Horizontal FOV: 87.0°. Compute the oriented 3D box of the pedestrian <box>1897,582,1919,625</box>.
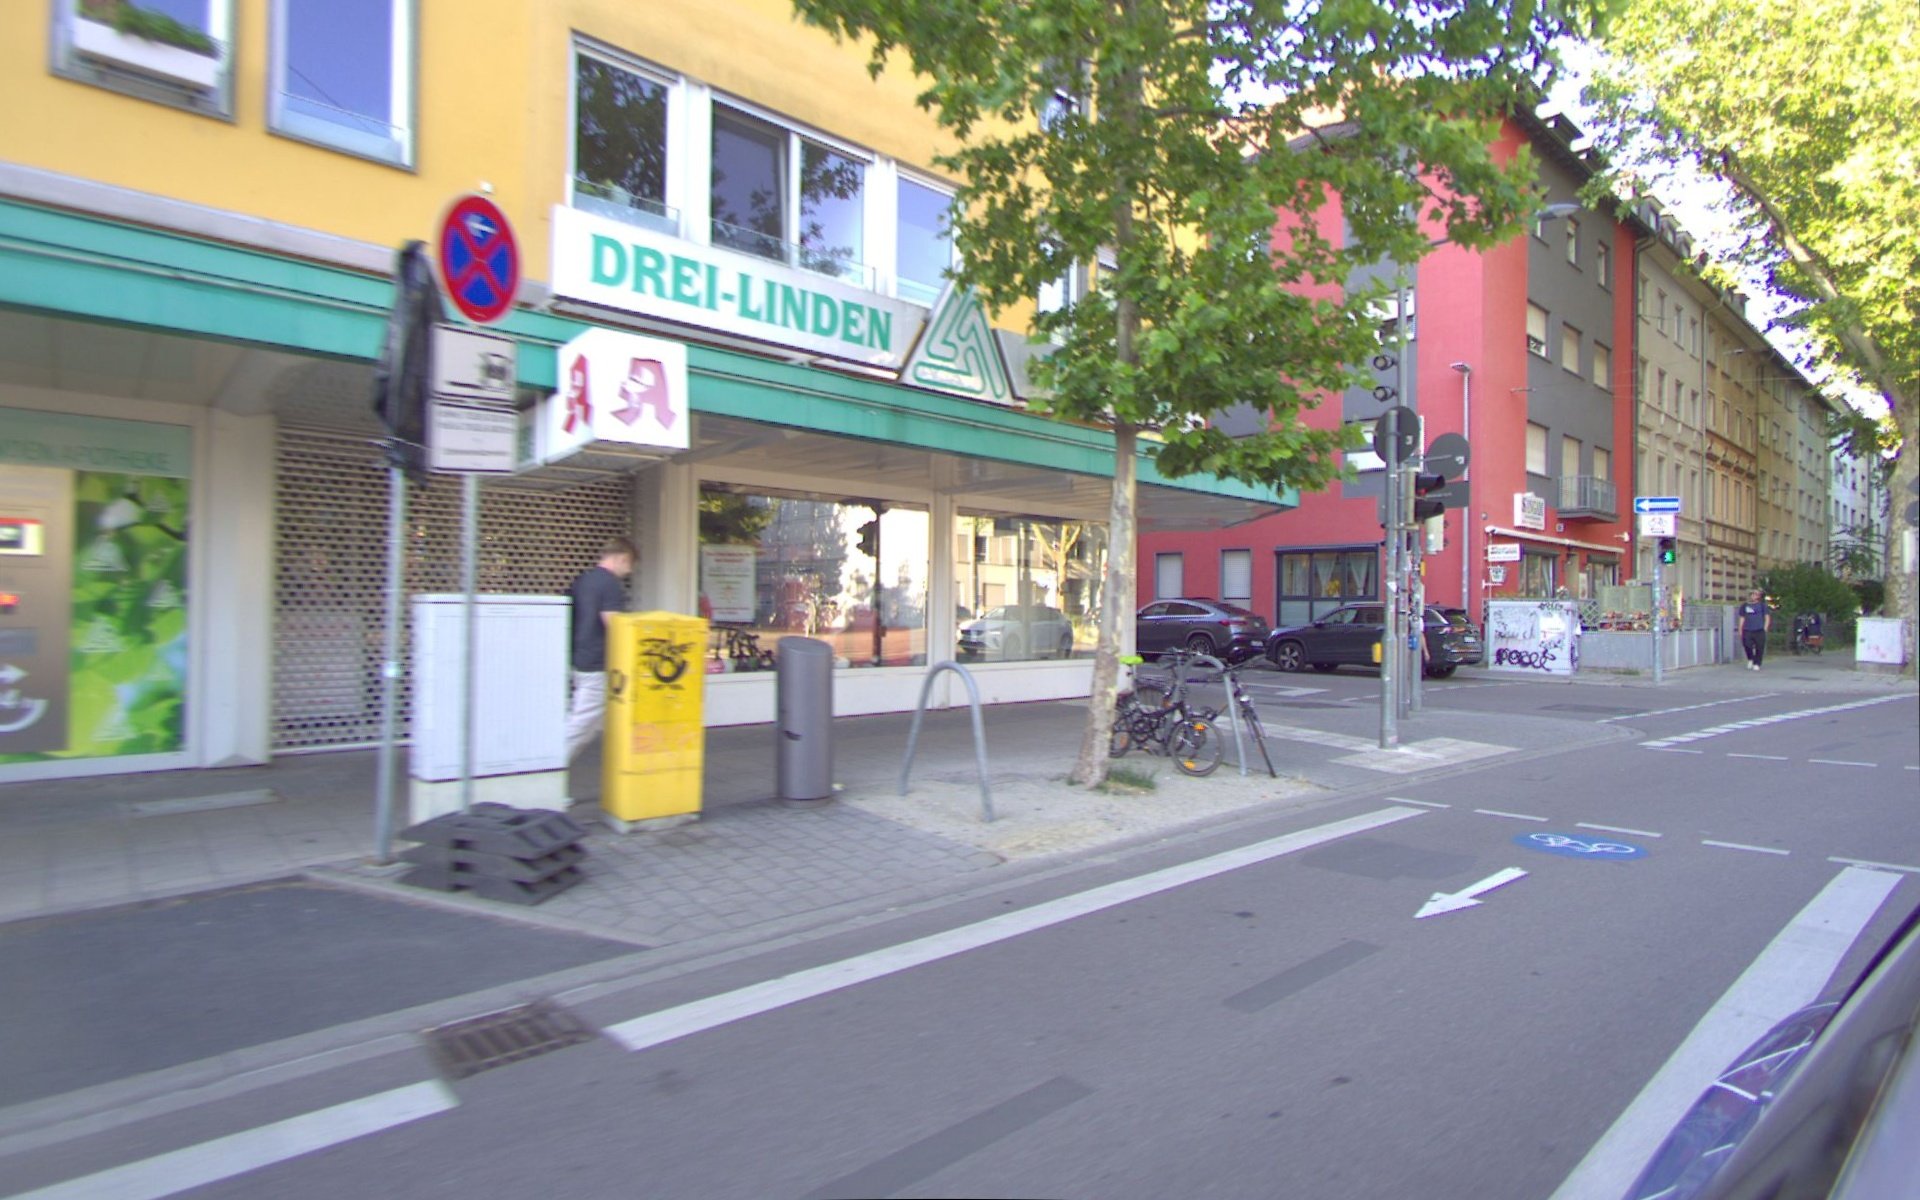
[{"bbox_3d":[35.532,0.122,37.774,0.690,1.600,0.727,0,0,-41],"label":"pedestrian"}]

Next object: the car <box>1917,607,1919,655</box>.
[{"bbox_3d":[30.786,0.988,30.943,4.294,1.419,1.802,1,3,-41],"label":"car"}]

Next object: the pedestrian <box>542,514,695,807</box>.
[{"bbox_3d":[-2.308,0.369,6.833,0.753,1.829,0.724,0,0,-42],"label":"pedestrian"}]

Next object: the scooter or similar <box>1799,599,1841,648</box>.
[{"bbox_3d":[27.289,0.733,32.106,2.500,1.488,0.665,1,0,-41],"label":"scooter or similar"}]

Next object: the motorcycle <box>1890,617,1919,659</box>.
[{"bbox_3d":[26.869,1.096,27.515,2.188,1.125,0.659,3,0,22],"label":"motorcycle"}]

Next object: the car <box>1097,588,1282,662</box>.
[{"bbox_3d":[5.926,0.589,26.620,1.742,1.762,4.609,1,0,-41],"label":"car"}]

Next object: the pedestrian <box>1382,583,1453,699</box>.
[{"bbox_3d":[7.394,0.639,16.345,0.879,1.802,0.744,0,0,-42],"label":"pedestrian"}]

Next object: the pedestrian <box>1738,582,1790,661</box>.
[{"bbox_3d":[18.285,0.477,23.022,0.802,1.731,0.728,0,3,-41],"label":"pedestrian"}]

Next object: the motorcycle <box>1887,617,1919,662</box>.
[{"bbox_3d":[25.297,1.050,26.130,1.858,1.125,0.784,3,0,6],"label":"motorcycle"}]

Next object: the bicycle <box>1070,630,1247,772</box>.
[{"bbox_3d":[1.681,0.826,8.752,0.447,1.020,1.484,0,2,-44],"label":"bicycle"}]

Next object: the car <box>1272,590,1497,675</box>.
[{"bbox_3d":[9.445,0.653,22.797,1.742,1.708,4.348,1,0,-41],"label":"car"}]

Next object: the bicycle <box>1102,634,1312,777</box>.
[{"bbox_3d":[2.167,0.885,9.073,0.532,1.020,1.800,0,2,-44],"label":"bicycle"}]
